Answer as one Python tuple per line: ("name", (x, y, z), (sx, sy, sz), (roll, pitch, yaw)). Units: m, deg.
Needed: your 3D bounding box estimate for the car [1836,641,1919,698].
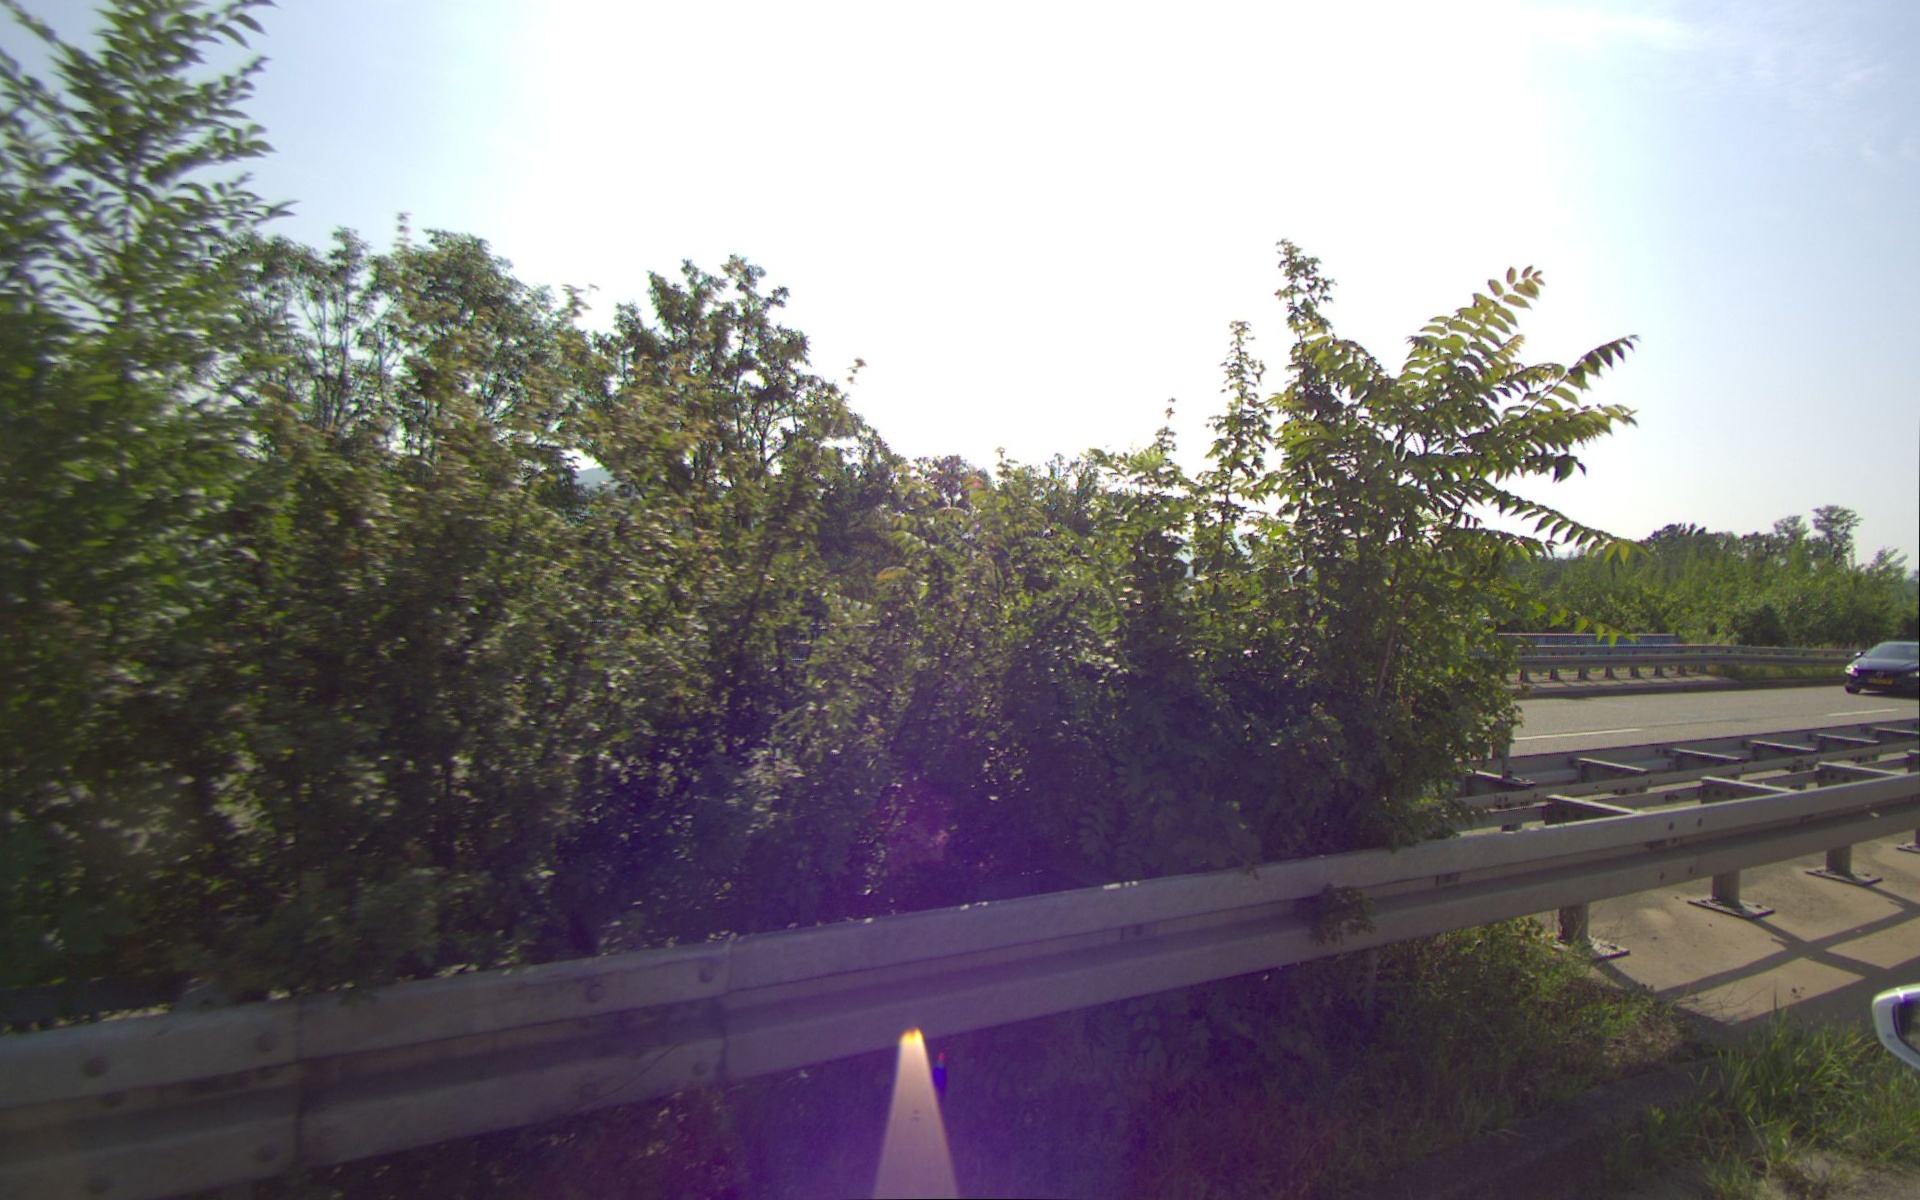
("car", (26.321, 1.885, 27.888), (4.783, 1.388, 1.698), (2, 0, -32))
